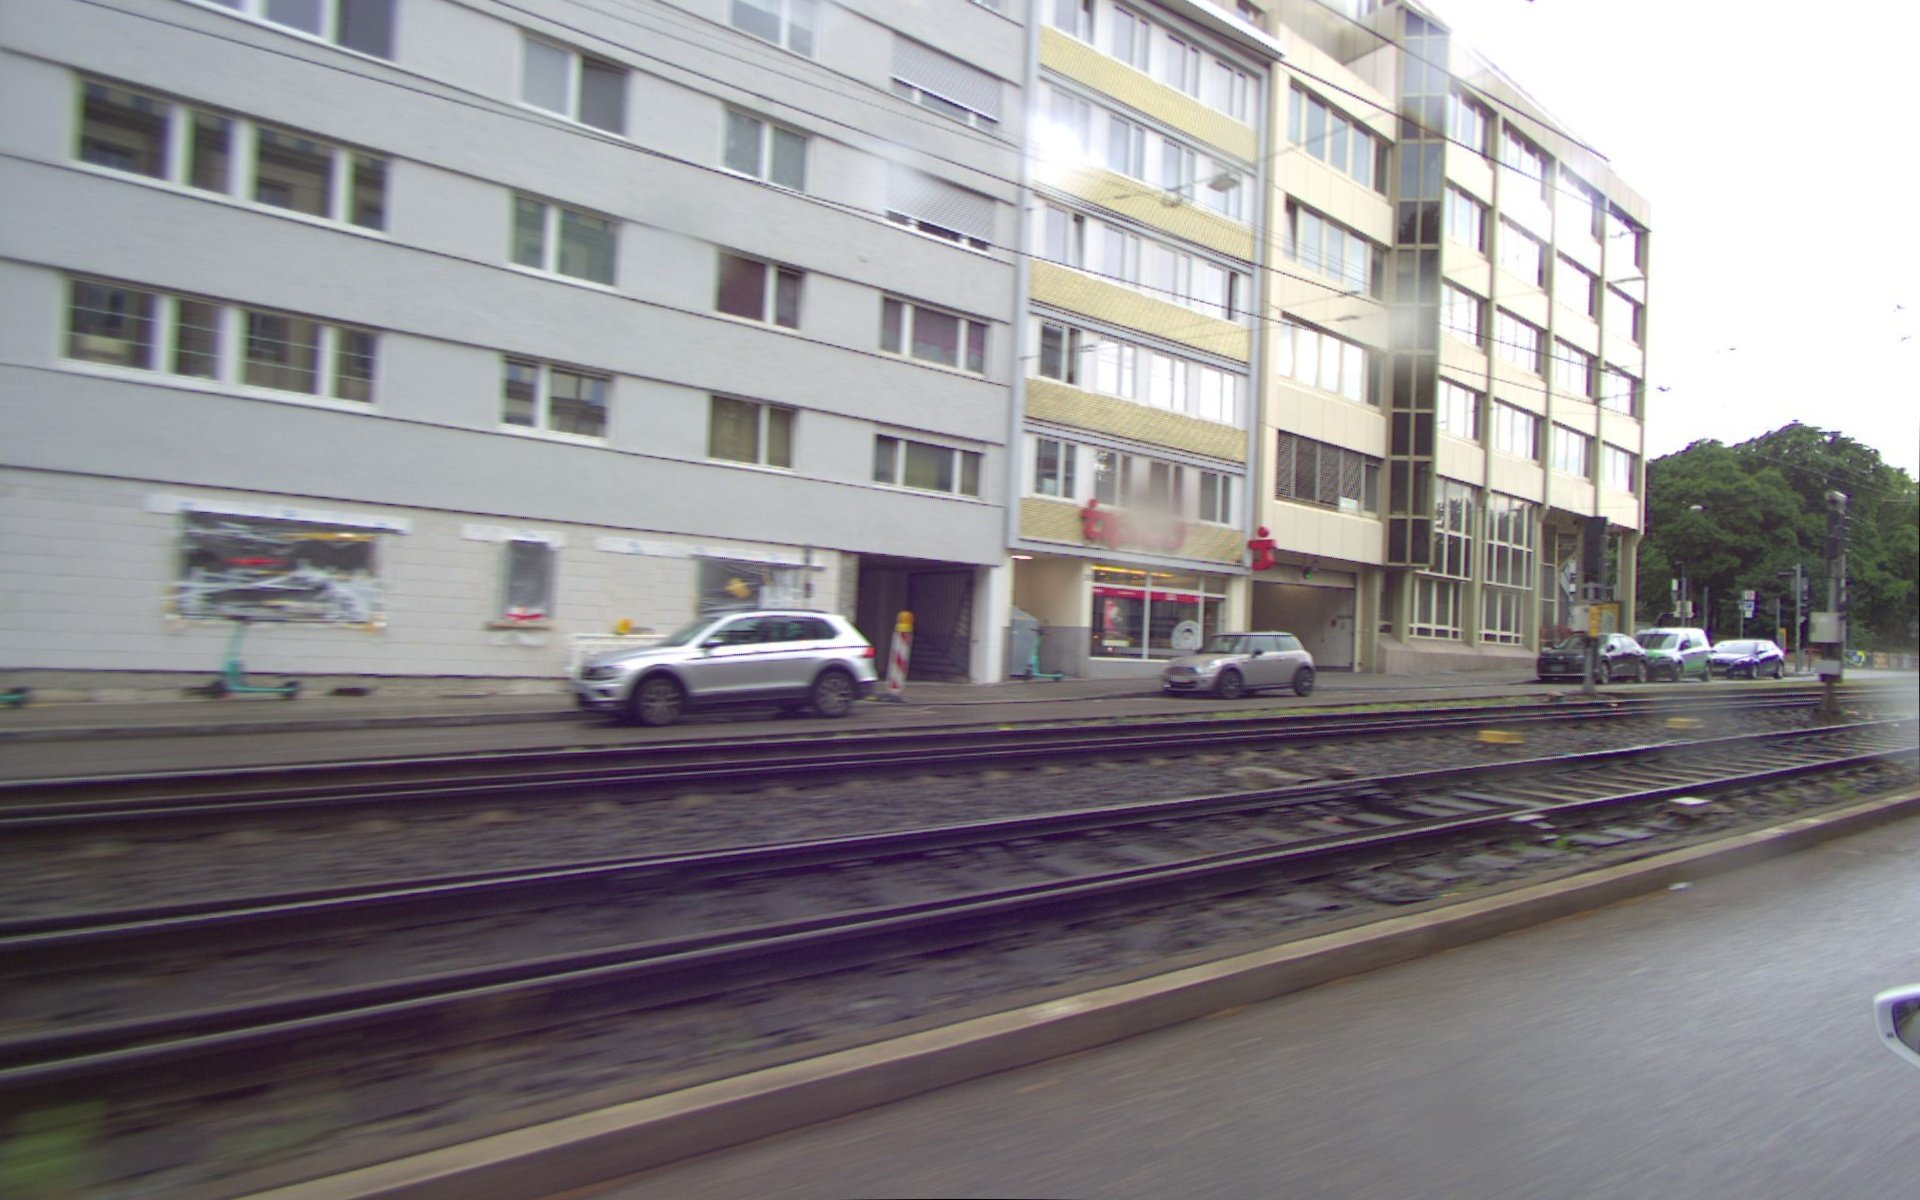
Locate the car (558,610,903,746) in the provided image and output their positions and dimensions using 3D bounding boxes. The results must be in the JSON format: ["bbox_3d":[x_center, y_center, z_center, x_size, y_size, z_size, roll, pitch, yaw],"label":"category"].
[{"bbox_3d":[-3.381,1.085,15.134,4.646,1.696,1.981,2,0,-34],"label":"car"}]

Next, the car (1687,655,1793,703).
[{"bbox_3d":[29.472,2.993,37.929,4.507,1.603,1.980,4,-1,-36],"label":"car"}]

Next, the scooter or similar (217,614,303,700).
[{"bbox_3d":[-10.247,0.843,14.721,0.964,1.218,0.378,4,-1,-35],"label":"scooter or similar"}]

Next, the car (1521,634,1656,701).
[{"bbox_3d":[19.777,2.148,31.548,4.651,1.874,1.979,4,-1,-36],"label":"car"}]

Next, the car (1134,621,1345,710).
[{"bbox_3d":[6.213,1.455,22.112,4.651,1.696,1.979,4,-1,-36],"label":"car"}]

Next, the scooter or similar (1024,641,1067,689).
[{"bbox_3d":[1.977,1.484,23.101,0.964,1.046,0.378,0,2,-35],"label":"scooter or similar"}]

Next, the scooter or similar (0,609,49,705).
[{"bbox_3d":[-12.544,0.730,13.040,0.964,1.218,0.378,4,-1,-35],"label":"scooter or similar"}]

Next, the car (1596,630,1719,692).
[{"bbox_3d":[23.795,2.100,34.220,4.651,1.874,1.979,4,-1,-36],"label":"car"}]
